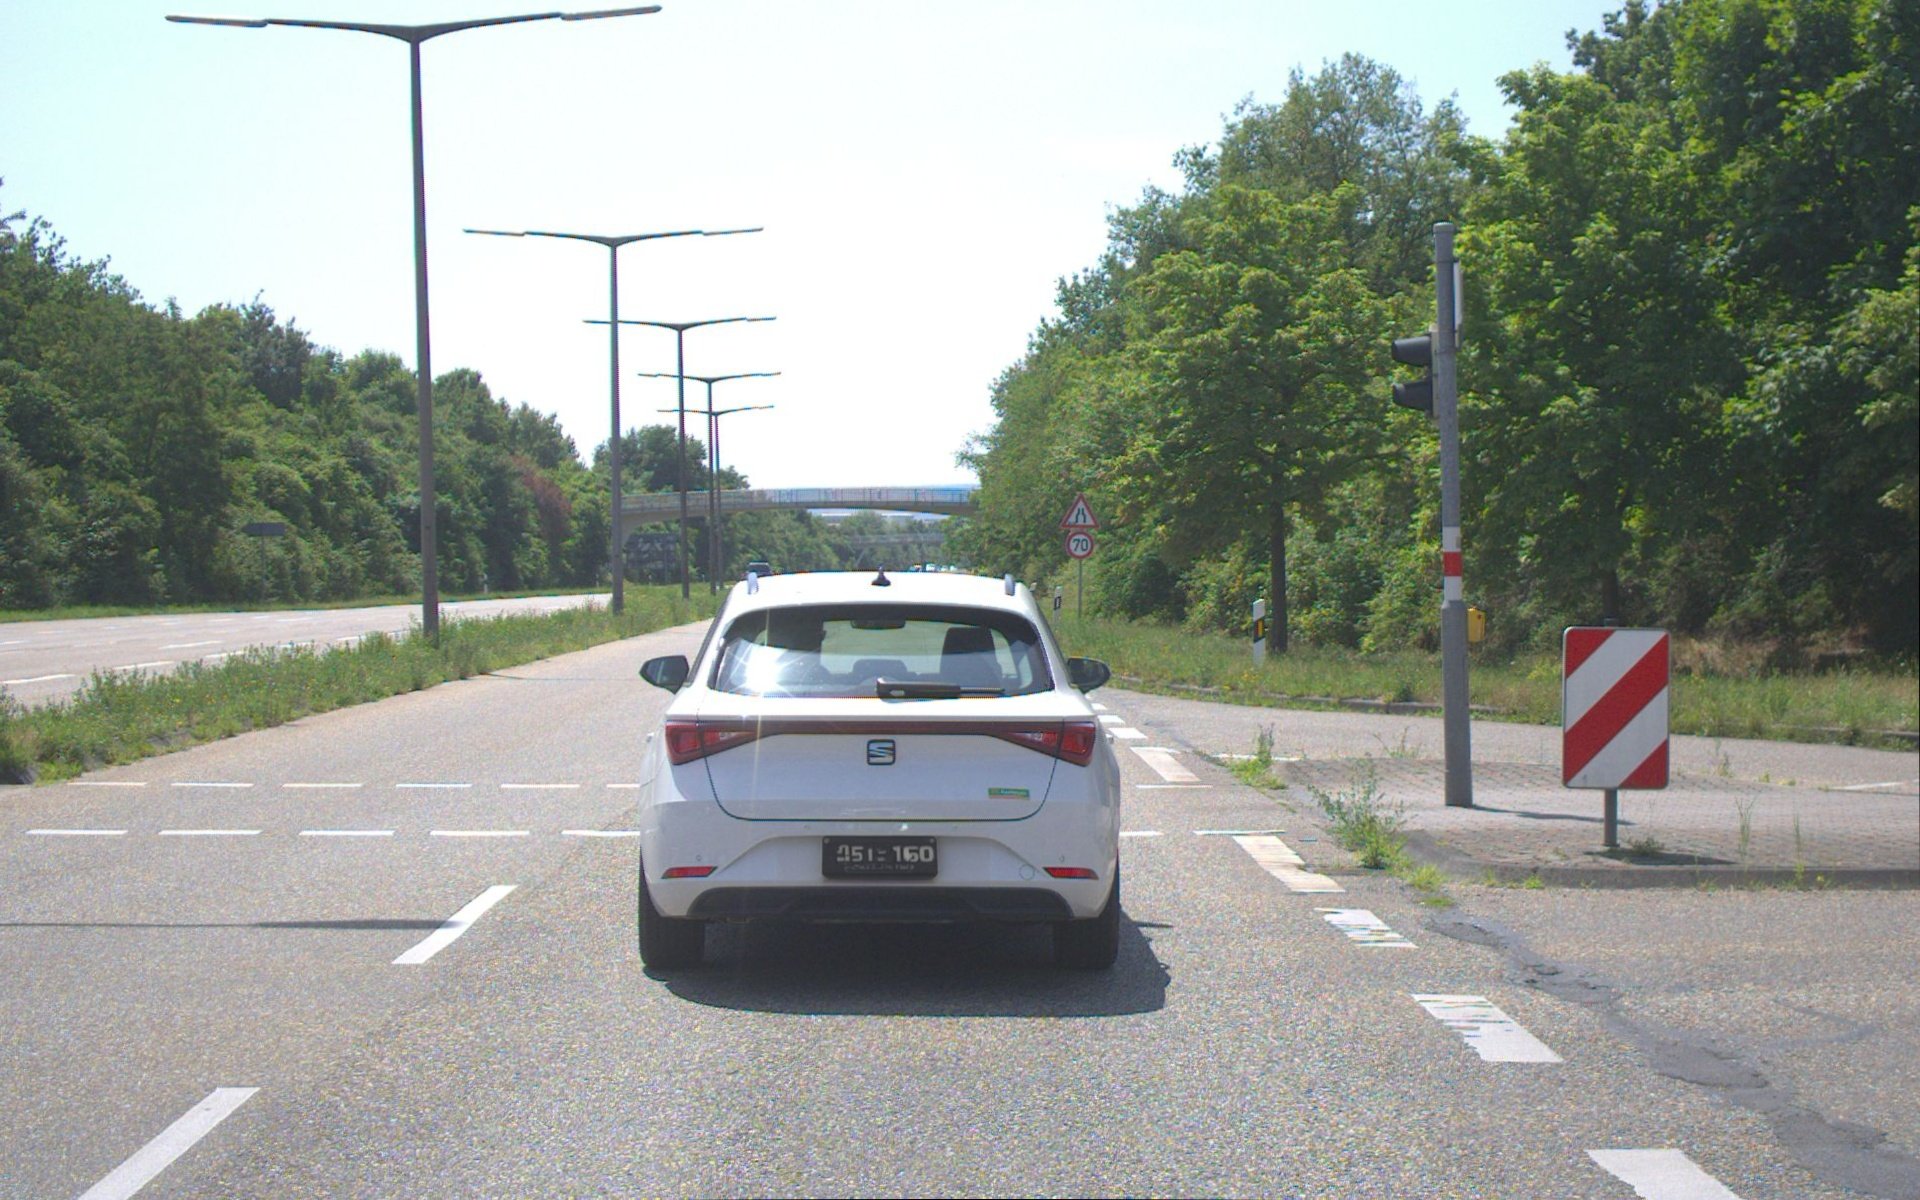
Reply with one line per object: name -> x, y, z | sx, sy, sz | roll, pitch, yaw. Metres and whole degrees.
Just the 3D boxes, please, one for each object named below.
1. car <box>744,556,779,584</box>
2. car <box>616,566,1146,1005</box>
car -> -12.759, -1.927, 220.905 | 1.855, 1.703, 4.000 | -1, 1, 2
car -> -0.268, 0.614, 13.296 | 1.734, 1.424, 3.694 | 1, 0, 0
